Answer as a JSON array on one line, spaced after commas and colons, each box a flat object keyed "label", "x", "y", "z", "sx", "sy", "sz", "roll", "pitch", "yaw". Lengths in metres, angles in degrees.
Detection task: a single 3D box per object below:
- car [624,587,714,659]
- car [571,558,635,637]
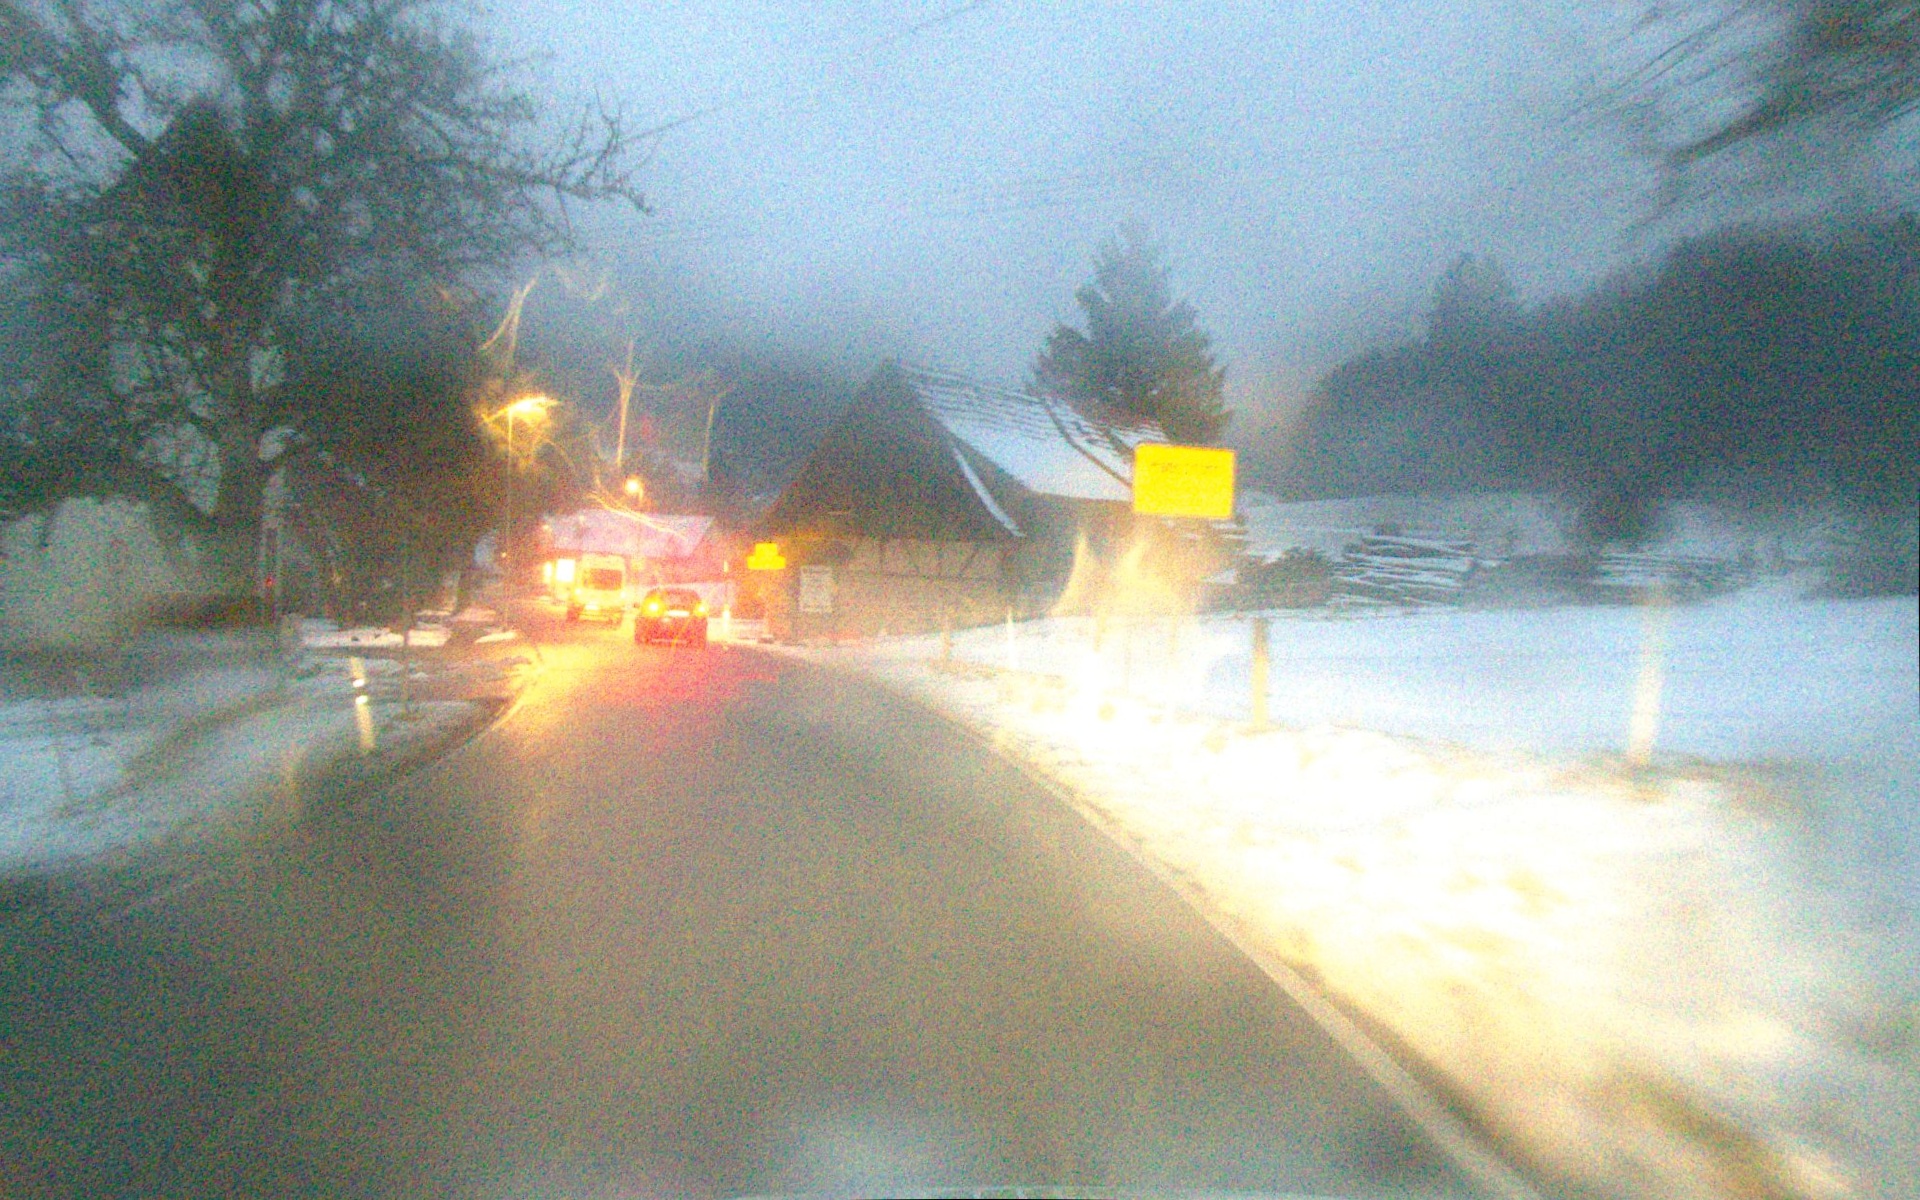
[{"label": "car", "x": -8.146, "y": 0.591, "z": 45.962, "sx": 2.235, "sy": 1.873, "sz": 4.990, "roll": 0, "pitch": 0, "yaw": -13}, {"label": "car", "x": -14.614, "y": -0.040, "z": 67.979, "sx": 2.391, "sy": 3.072, "sz": 5.310, "roll": 1, "pitch": -1, "yaw": -11}]
